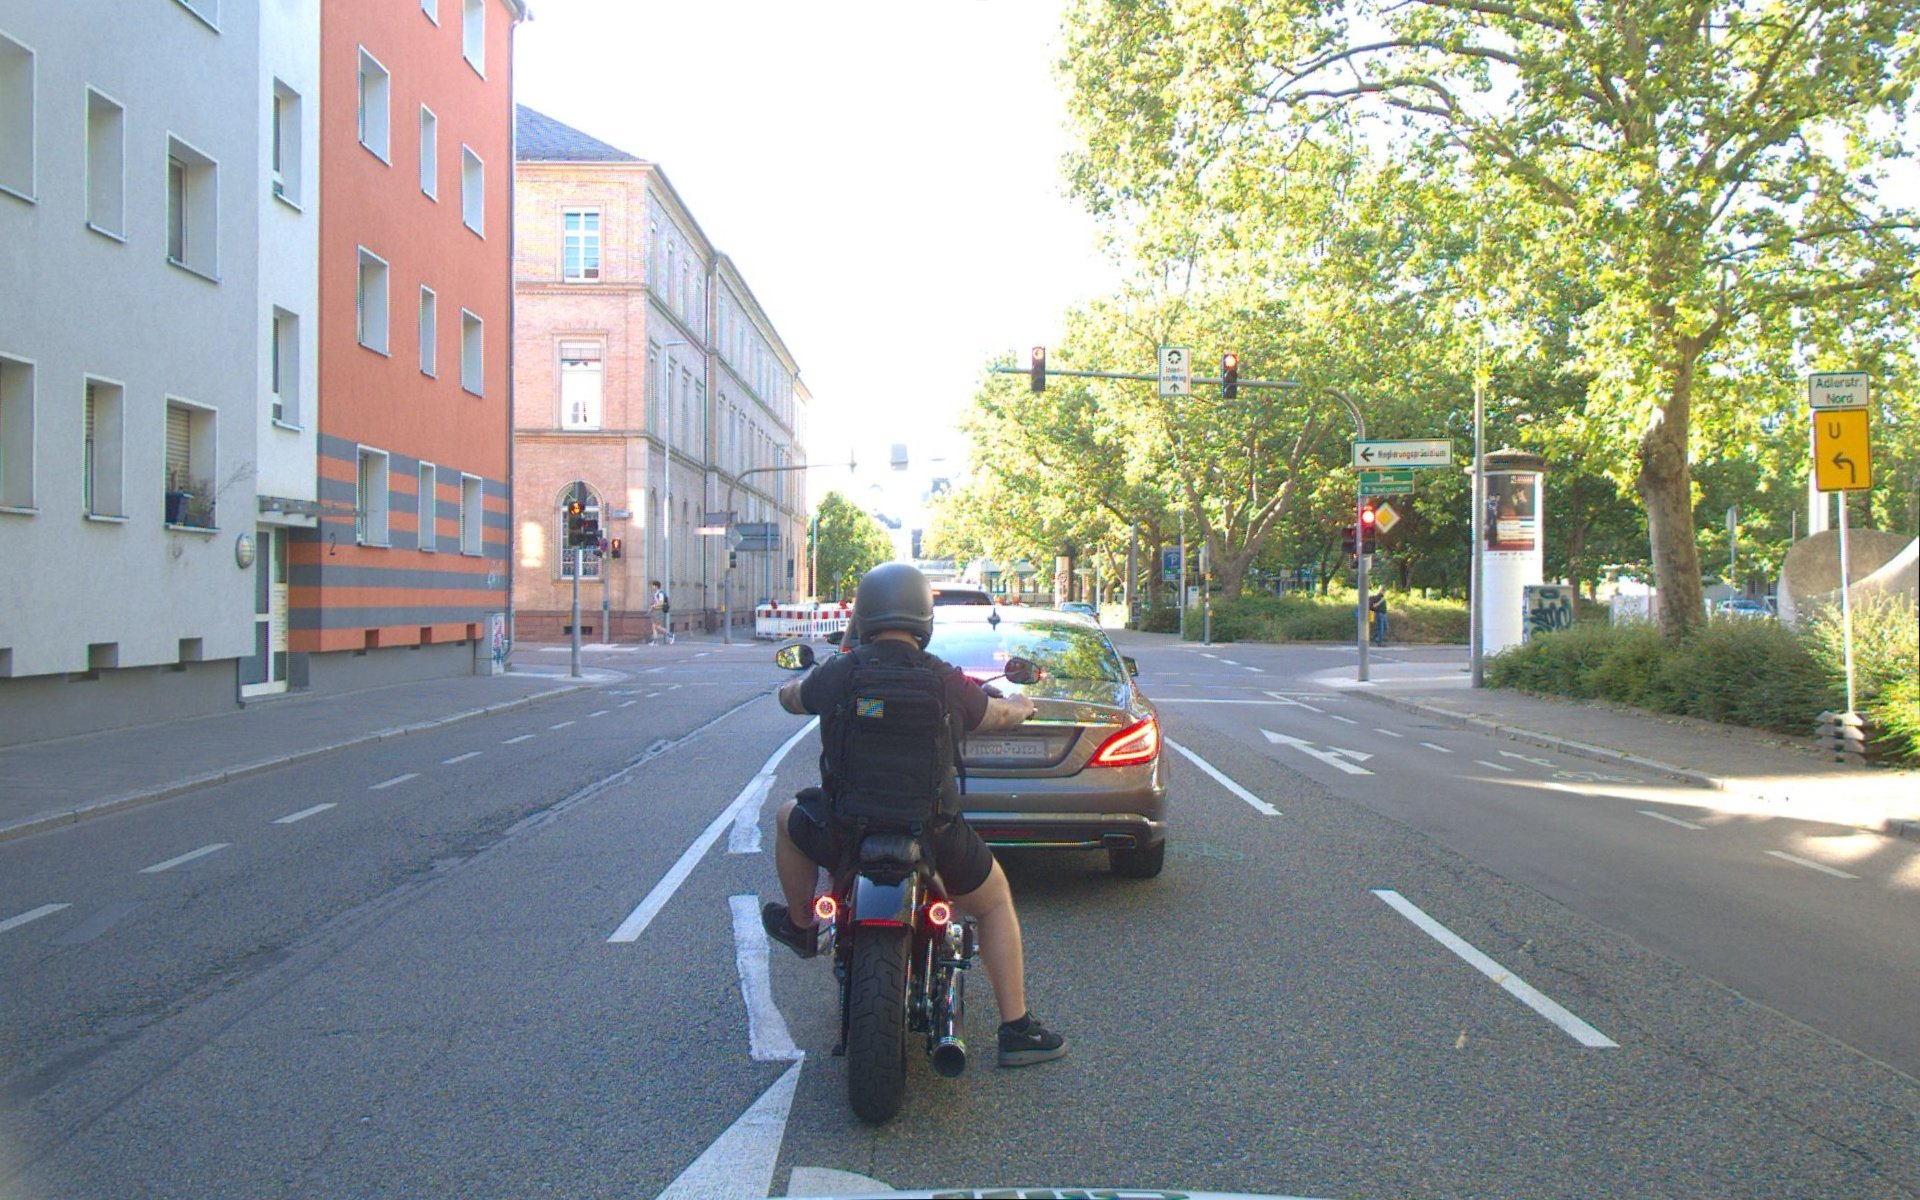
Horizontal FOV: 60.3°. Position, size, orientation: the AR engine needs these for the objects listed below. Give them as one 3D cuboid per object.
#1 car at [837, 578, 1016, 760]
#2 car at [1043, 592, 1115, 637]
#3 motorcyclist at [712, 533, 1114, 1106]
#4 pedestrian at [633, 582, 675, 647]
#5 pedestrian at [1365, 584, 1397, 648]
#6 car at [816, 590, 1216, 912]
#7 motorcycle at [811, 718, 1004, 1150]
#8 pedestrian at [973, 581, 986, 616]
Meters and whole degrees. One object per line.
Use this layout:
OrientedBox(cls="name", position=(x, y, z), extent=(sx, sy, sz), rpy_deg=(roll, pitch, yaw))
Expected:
OrientedBox(cls="car", position=(-0.329, 0.608, 16.732), extent=(1.588, 1.622, 3.999), rpy_deg=(0, 0, -1))
OrientedBox(cls="car", position=(4.417, 0.524, 62.080), extent=(1.818, 1.602, 4.127), rpy_deg=(1, 0, -9))
OrientedBox(cls="motorcyclist", position=(-0.141, 0.632, 5.387), extent=(1.125, 1.626, 1.288), rpy_deg=(1, 0, -1))
OrientedBox(cls="pedestrian", position=(-8.833, 0.418, 47.758), extent=(0.987, 1.858, 1.069), rpy_deg=(1, -1, -22))
OrientedBox(cls="pedestrian", position=(12.943, 0.490, 50.893), extent=(0.903, 1.943, 0.752), rpy_deg=(1, -1, 12))
OrientedBox(cls="car", position=(0.237, 0.695, 9.624), extent=(1.844, 1.475, 3.819), rpy_deg=(1, 0, -1))
OrientedBox(cls="motorcycle", position=(-0.155, 0.971, 5.456), extent=(0.503, 1.020, 2.013), rpy_deg=(1, 0, -1))
OrientedBox(cls="pedestrian", position=(1.185, -0.078, 100.905), extent=(0.748, 2.087, 0.712), rpy_deg=(1, -1, -1))
